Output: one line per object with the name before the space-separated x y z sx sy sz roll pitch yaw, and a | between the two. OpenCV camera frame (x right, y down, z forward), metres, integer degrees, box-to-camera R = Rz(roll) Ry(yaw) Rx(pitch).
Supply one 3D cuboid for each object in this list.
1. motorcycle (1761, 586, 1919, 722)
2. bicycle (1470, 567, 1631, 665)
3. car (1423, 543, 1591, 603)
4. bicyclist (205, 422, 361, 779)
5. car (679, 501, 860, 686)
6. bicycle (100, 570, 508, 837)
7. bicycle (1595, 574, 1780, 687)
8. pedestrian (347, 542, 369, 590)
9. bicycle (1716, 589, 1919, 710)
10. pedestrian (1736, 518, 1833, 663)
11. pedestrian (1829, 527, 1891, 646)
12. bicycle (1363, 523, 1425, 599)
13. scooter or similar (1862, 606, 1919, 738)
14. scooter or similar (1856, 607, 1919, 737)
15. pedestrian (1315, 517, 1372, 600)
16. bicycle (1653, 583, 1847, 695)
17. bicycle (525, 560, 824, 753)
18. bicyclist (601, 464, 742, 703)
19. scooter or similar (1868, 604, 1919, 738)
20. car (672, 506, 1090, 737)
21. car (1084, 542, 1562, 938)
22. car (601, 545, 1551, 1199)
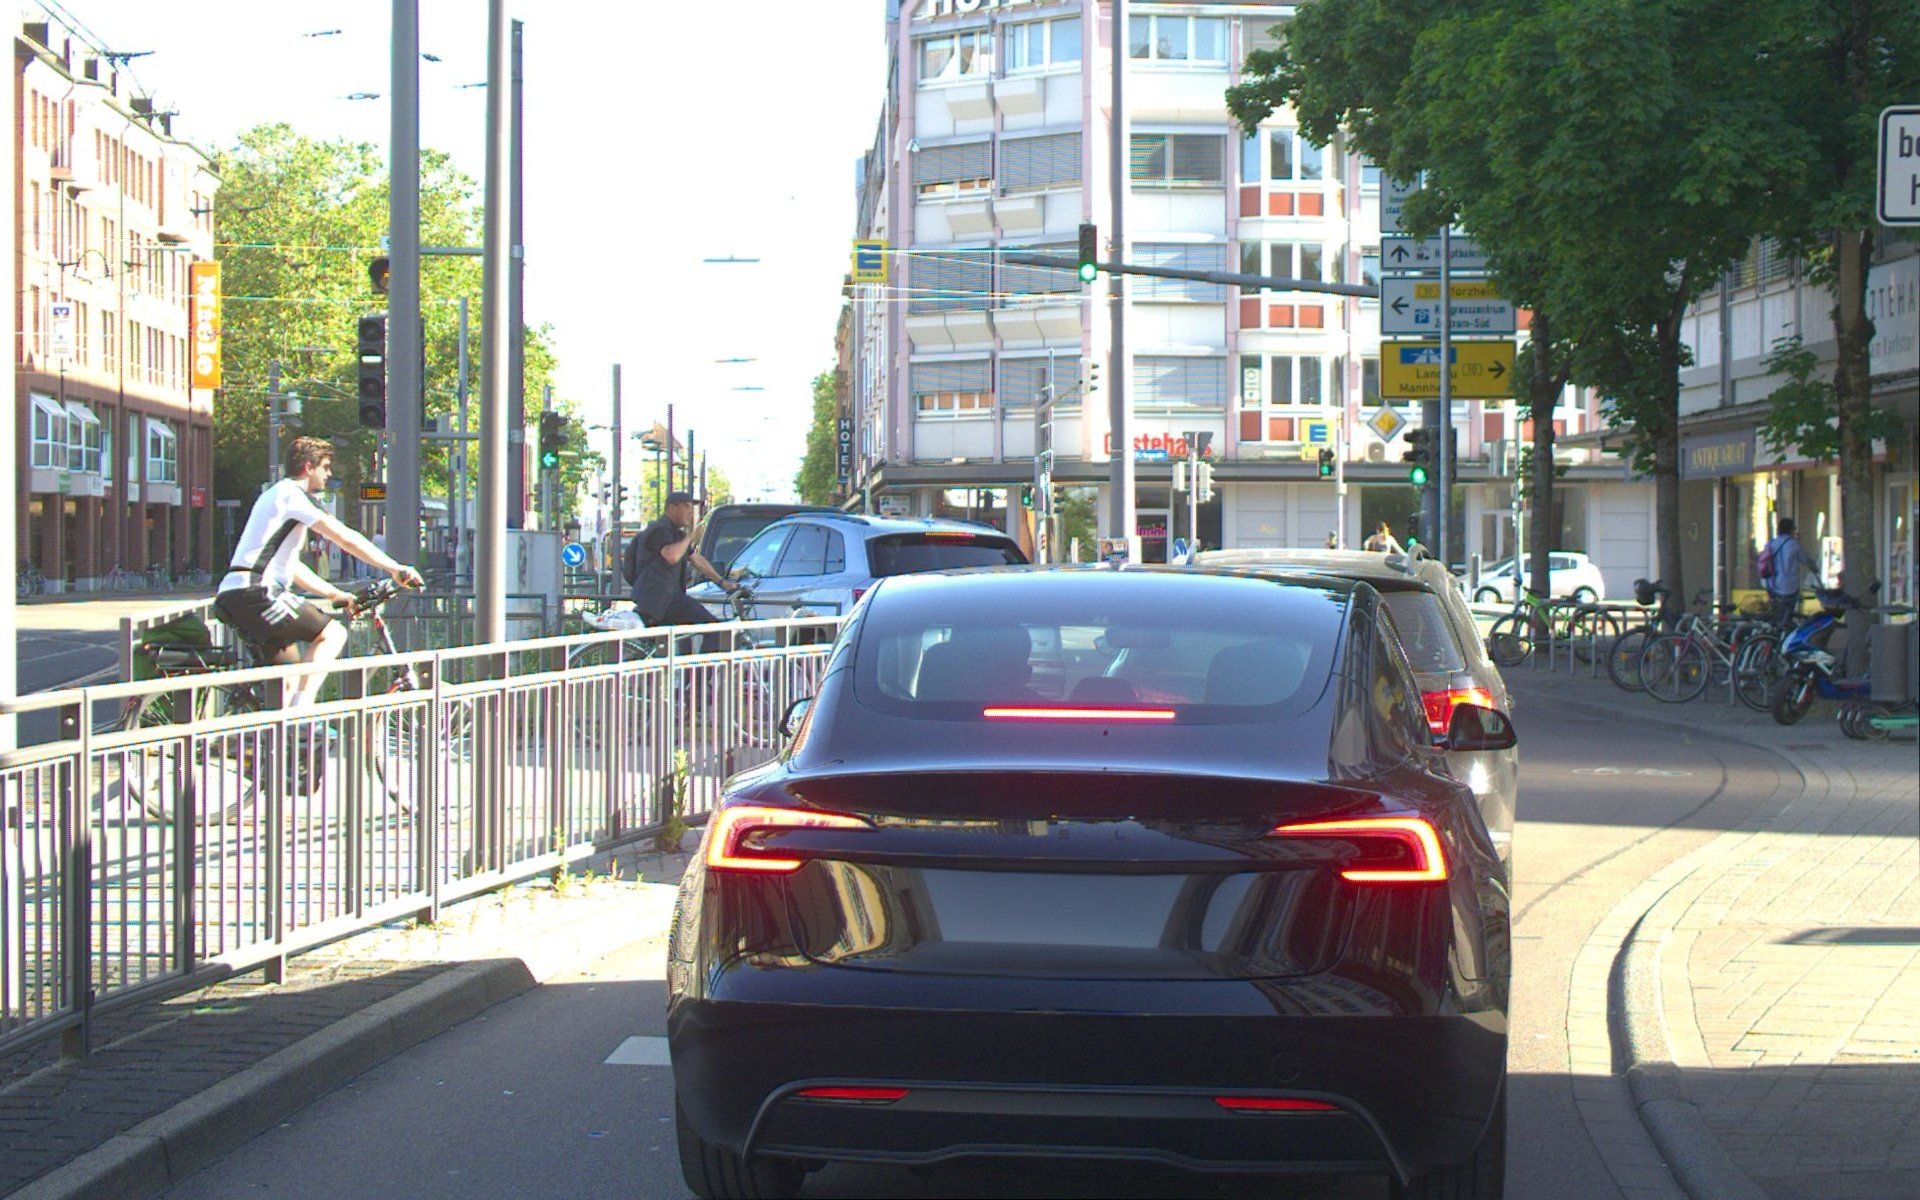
motorcycle | 7.768 0.460 29.224 1.787 1.126 0.504 1 0 -3
bicycle | 7.282 0.193 42.424 1.890 1.152 0.480 -1 0 0
car | 13.716 -0.665 86.341 3.840 1.427 1.804 0 -1 -5
bicyclist | -3.154 0.003 16.028 0.681 1.625 0.579 1 0 -11
car | -1.773 -0.077 32.318 1.572 1.612 3.784 1 1 -3
bicycle | -3.054 0.478 16.048 1.819 1.207 0.582 1 0 -11
bicycle | 7.479 0.305 35.370 1.809 1.147 0.435 0 0 -4
pedestrian | -19.116 -1.081 109.094 0.583 1.525 0.638 1 0 -18
bicycle | 7.845 0.442 31.335 1.849 1.052 0.399 -1 1 -11
pedestrian | 9.938 -0.120 41.429 0.845 1.715 0.878 1 1 37
pedestrian | 10.828 -0.162 41.384 0.645 1.417 0.621 1 0 10
bicycle | 8.410 -0.768 66.685 0.582 1.458 1.686 0 1 -16
scooter or similar | 7.616 0.565 27.101 0.956 1.035 0.160 0 1 3
scooter or similar | 7.622 0.573 27.301 0.964 1.023 0.160 0 1 3
pedestrian | 7.437 -0.807 66.703 0.779 1.571 0.868 1 2 -15
bicycle | 7.651 0.371 33.335 1.767 1.053 0.458 1 0 5
bicycle | -1.838 0.356 22.269 1.820 1.207 0.642 0 1 -31
bicyclist | -1.871 -0.106 22.243 0.681 1.518 0.635 1 0 -31
scooter or similar | 7.611 0.555 26.902 0.964 1.039 0.160 0 1 3
car | -0.672 0.134 26.212 1.839 1.629 3.486 1 1 -27
car | 1.525 0.484 15.171 1.765 1.439 4.528 1 1 4
car | 0.356 0.620 8.508 1.791 1.446 3.939 1 2 4
